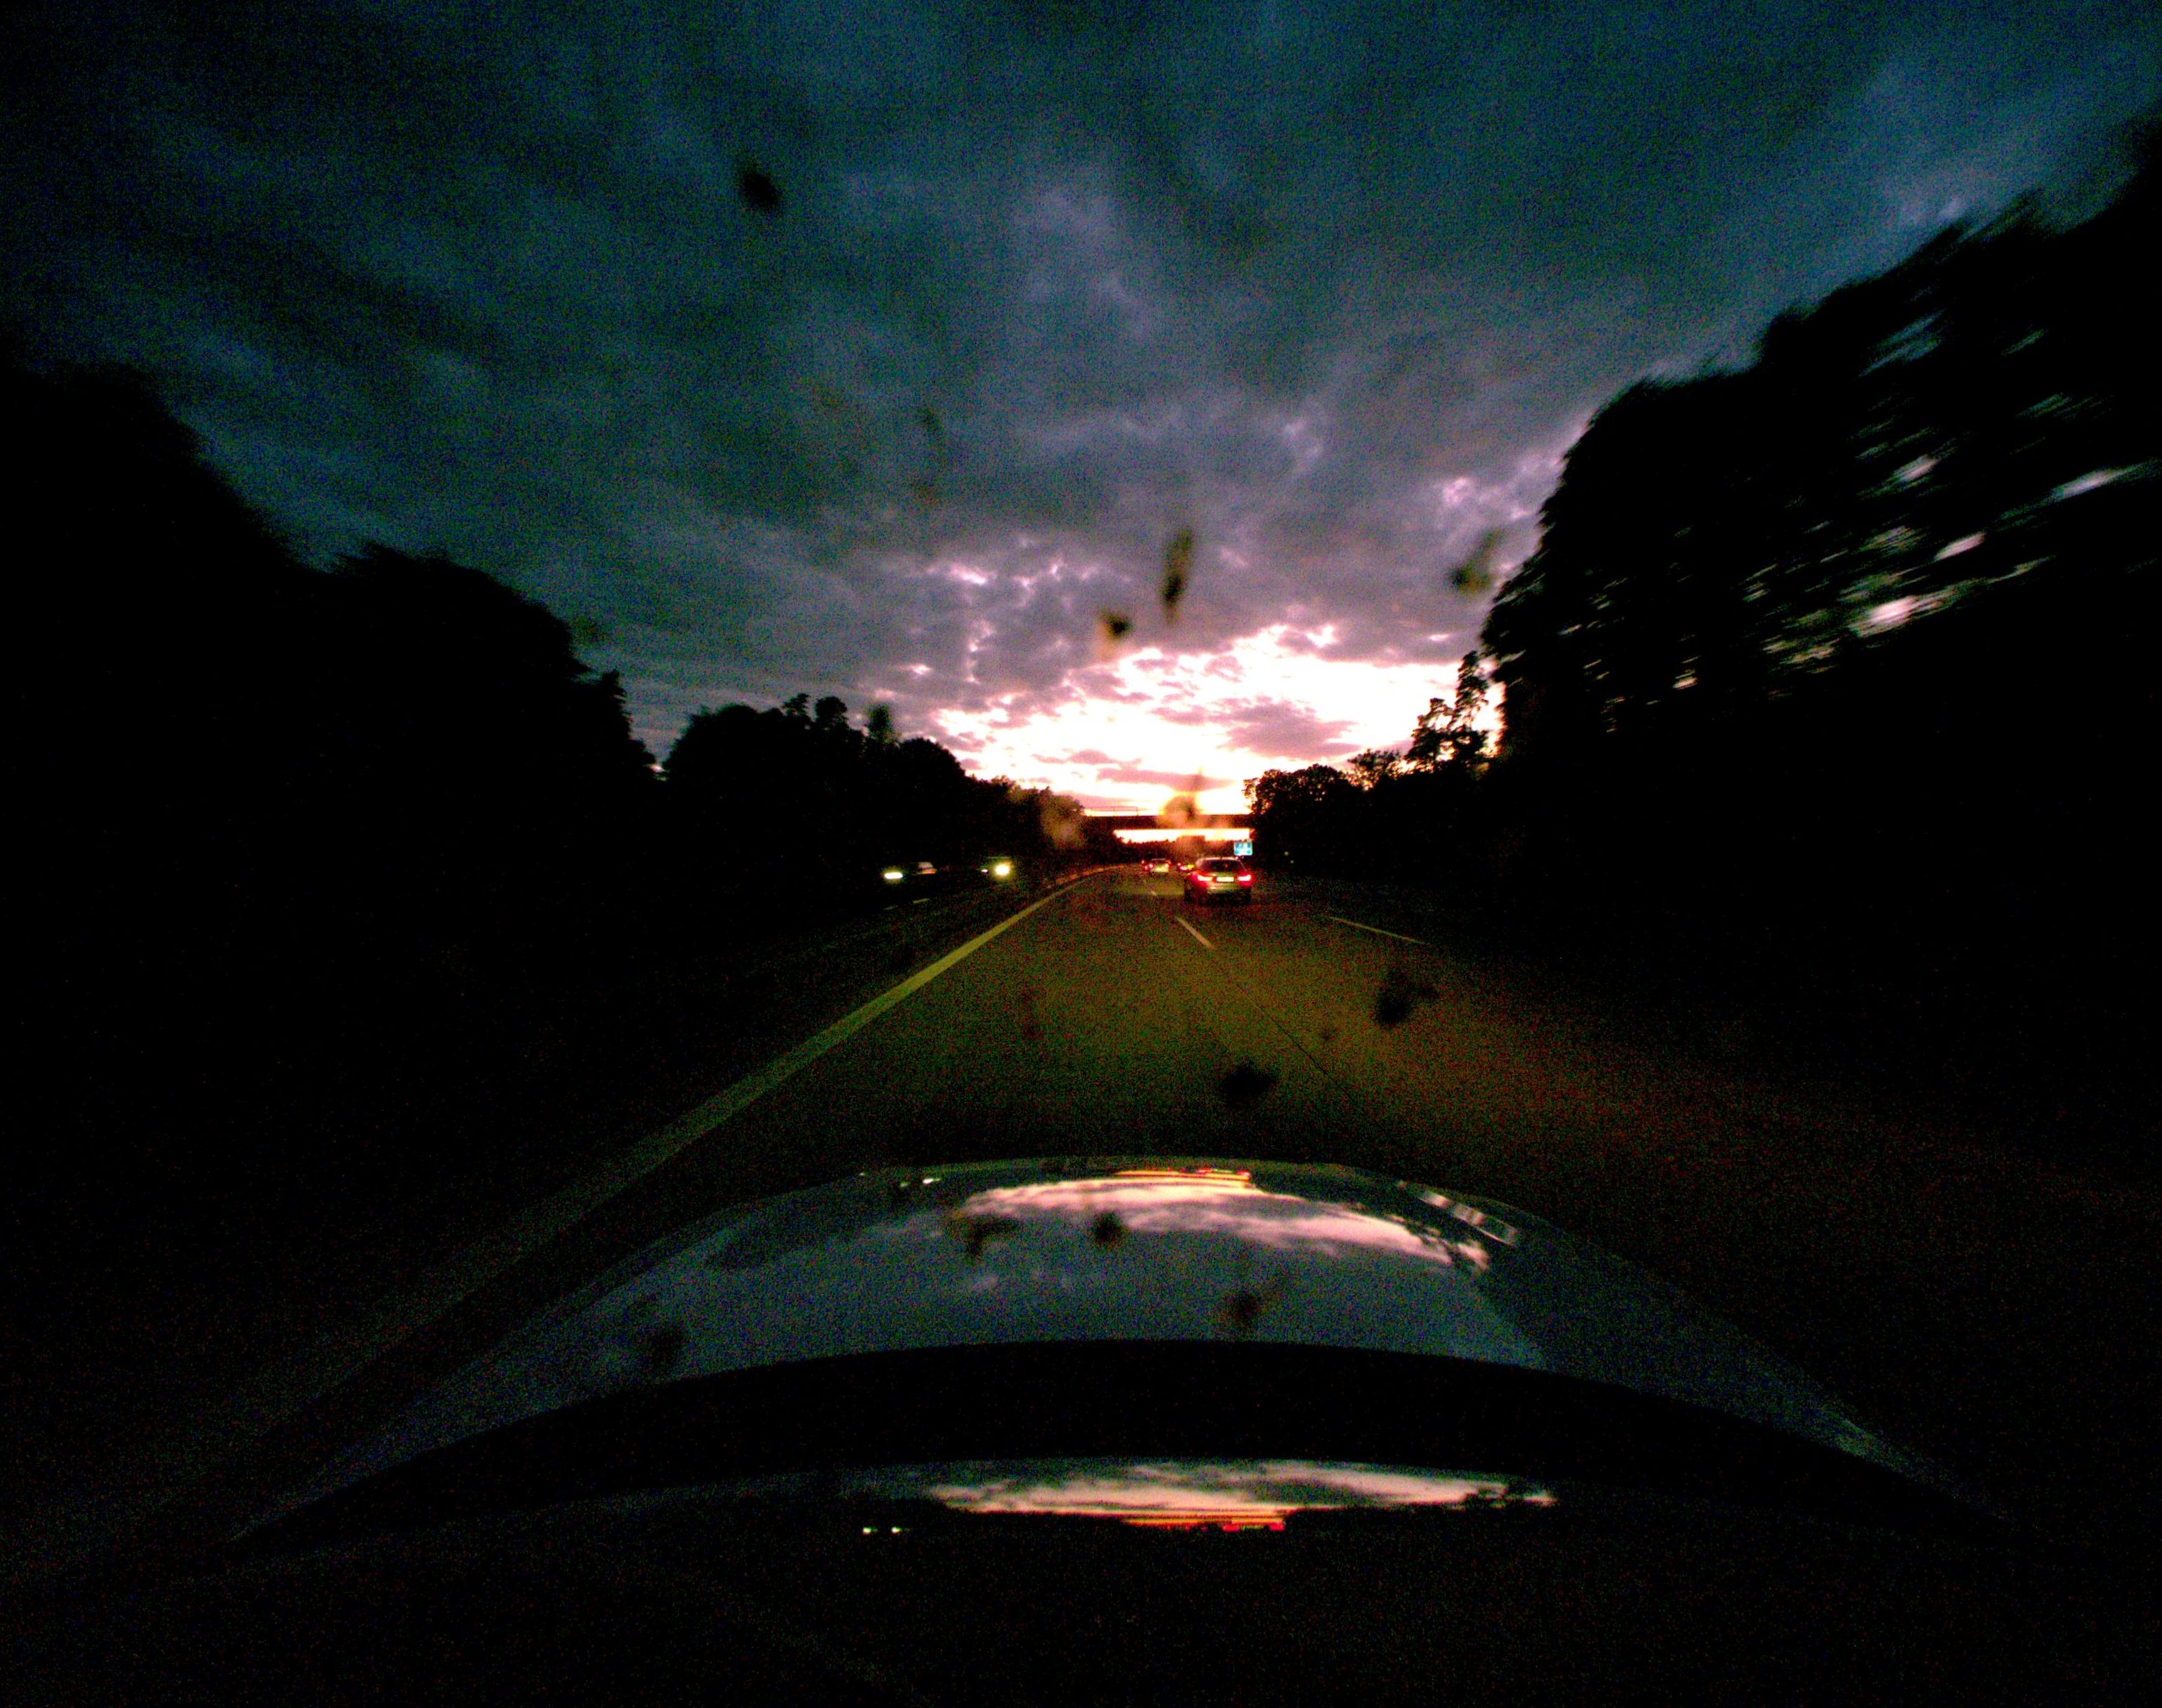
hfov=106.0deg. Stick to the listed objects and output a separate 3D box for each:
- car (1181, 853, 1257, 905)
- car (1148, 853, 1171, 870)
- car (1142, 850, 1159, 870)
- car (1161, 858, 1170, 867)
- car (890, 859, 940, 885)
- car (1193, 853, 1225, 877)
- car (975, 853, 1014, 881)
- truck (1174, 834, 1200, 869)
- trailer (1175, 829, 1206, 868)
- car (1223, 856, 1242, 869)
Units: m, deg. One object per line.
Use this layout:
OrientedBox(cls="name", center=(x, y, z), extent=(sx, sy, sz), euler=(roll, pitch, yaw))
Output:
OrientedBox(cls="car", center=(4.582, 0.777, 27.762), extent=(1.901, 1.537, 5.235), euler=(-1, 0, 3))
OrientedBox(cls="car", center=(6.880, 0.651, 71.929), extent=(1.851, 1.442, 3.723), euler=(-1, 0, 3))
OrientedBox(cls="car", center=(9.094, 0.821, 106.879), extent=(2.155, 2.419, 5.571), euler=(-1, -2, 5))
OrientedBox(cls="car", center=(22.427, 2.314, 217.193), extent=(2.156, 2.419, 5.569), euler=(-1, -2, 4))
OrientedBox(cls="car", center=(-9.930, 1.045, 49.073), extent=(1.867, 1.443, 4.454), euler=(-1, 0, 2))
OrientedBox(cls="car", center=(9.532, 0.823, 60.946), extent=(1.894, 1.643, 5.058), euler=(-1, -1, 4))
OrientedBox(cls="car", center=(-6.054, 0.875, 57.493), extent=(1.986, 1.797, 4.833), euler=(-1, 0, 2))
OrientedBox(cls="truck", center=(13.202, -0.237, 102.316), extent=(2.871, 4.101, 10.847), euler=(-1, -1, 6))
OrientedBox(cls="trailer", center=(12.226, -0.501, 91.796), extent=(2.893, 4.101, 10.370), euler=(-1, -1, 5))
OrientedBox(cls="car", center=(17.566, 1.006, 94.556), extent=(1.850, 1.442, 4.118), euler=(-1, -1, 6))
